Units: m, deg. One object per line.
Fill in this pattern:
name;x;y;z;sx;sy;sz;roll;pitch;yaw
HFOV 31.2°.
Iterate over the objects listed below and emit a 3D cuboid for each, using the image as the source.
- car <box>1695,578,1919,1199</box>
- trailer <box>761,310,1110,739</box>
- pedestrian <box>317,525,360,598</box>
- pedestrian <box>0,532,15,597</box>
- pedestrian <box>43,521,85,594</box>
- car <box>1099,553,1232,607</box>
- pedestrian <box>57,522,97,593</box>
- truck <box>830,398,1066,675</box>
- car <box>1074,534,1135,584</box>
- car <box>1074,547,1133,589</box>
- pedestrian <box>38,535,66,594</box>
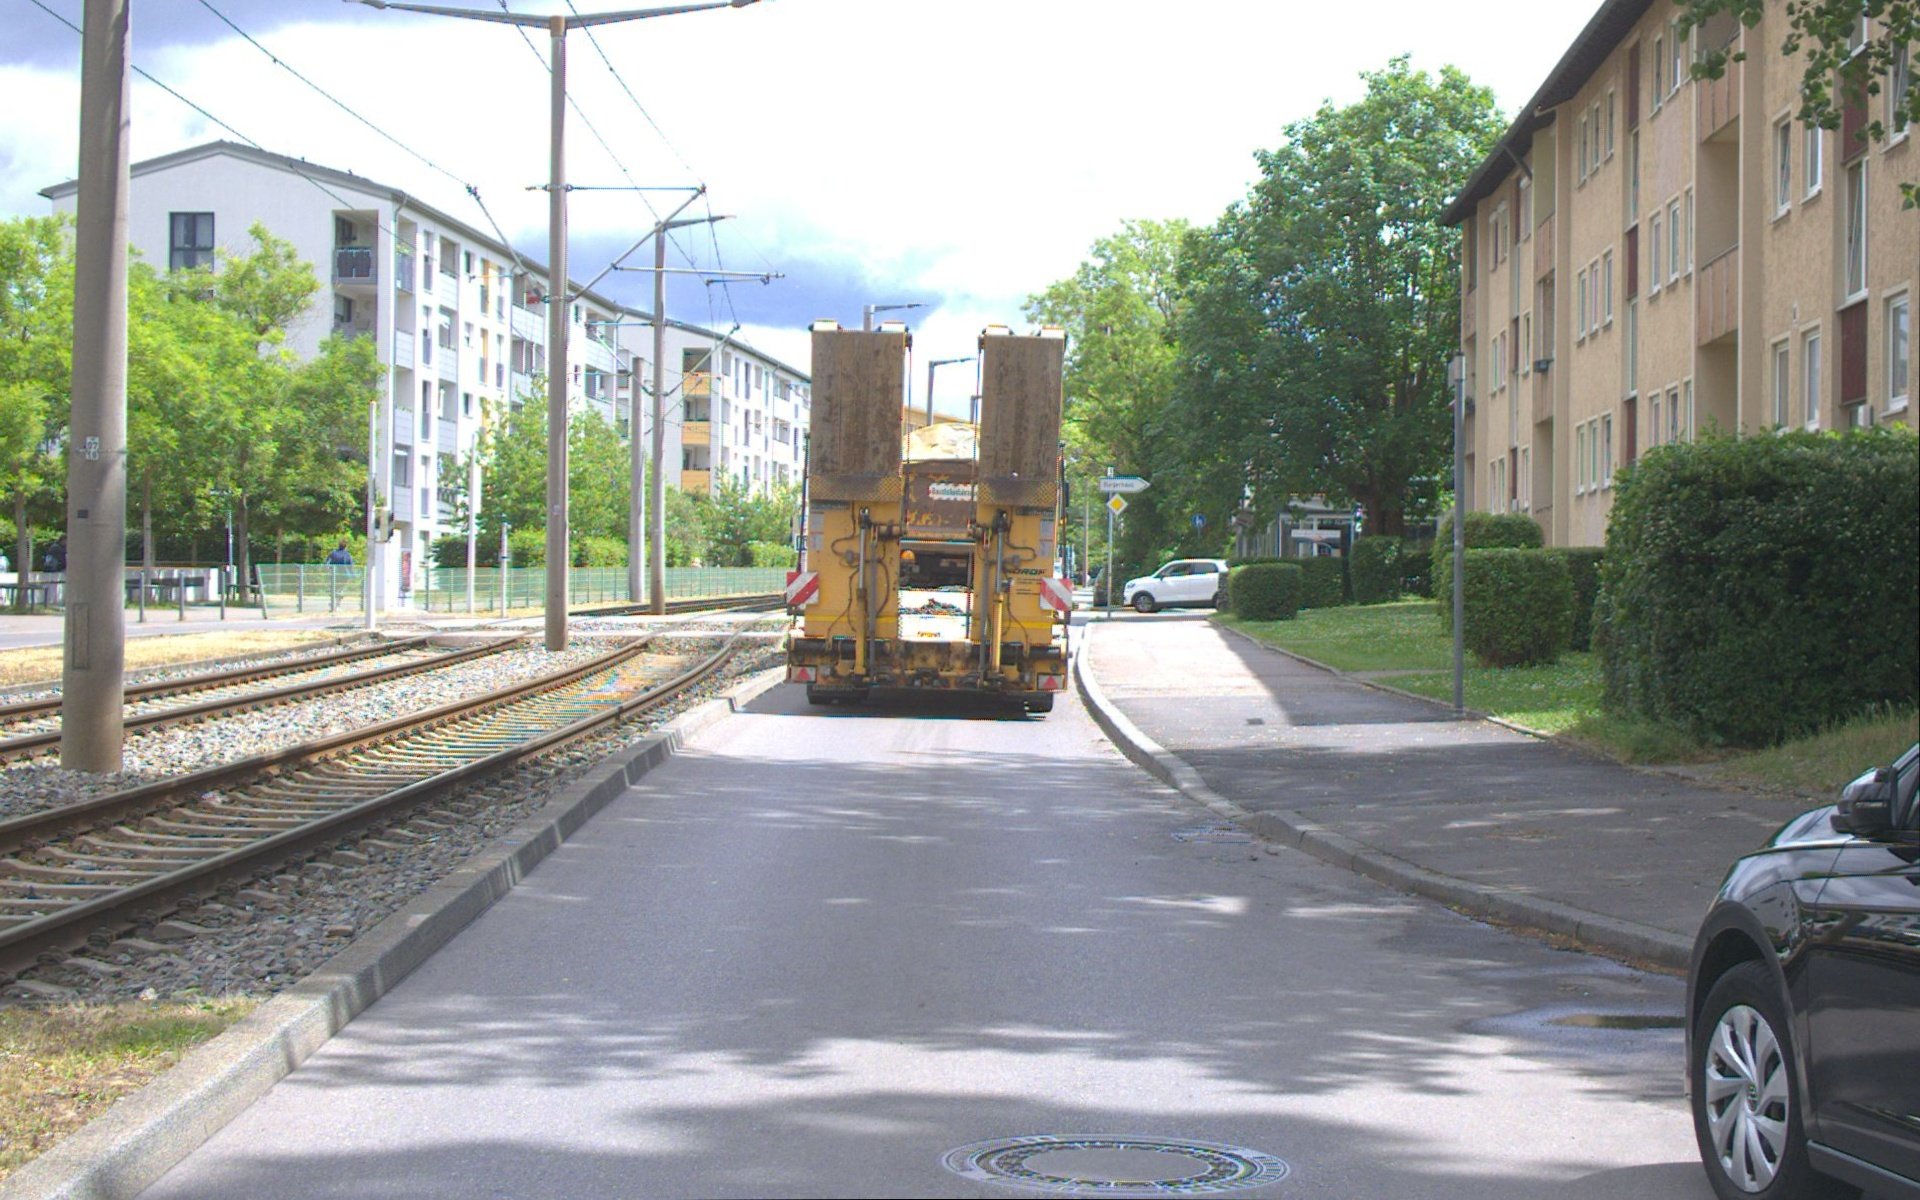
car;2.747;0.719;6.411;1.815;1.444;3.827;-1;2;-2
trailer;-0.241;-0.827;36.192;3.050;3.759;11.613;-1;2;0
pedestrian;-14.453;-0.900;79.900;0.749;1.656;0.869;0;1;6
pedestrian;-23.223;-0.859;82.977;0.545;1.542;0.528;0;2;23
pedestrian;-19.493;-0.926;74.812;0.623;1.567;0.697;0;1;13
car;6.046;-0.579;101.077;3.600;1.579;1.999;0;0;14
pedestrian;-19.443;-0.940;75.702;0.623;1.567;0.557;0;1;13
truck;-0.164;-0.877;45.571;2.833;3.319;7.985;-1;2;0
car;4.831;-1.389;115.454;1.993;1.612;4.000;0;2;2
car;4.992;-1.118;120.067;1.993;1.382;4.000;0;2;2
pedestrian;-19.549;-0.763;74.007;0.499;1.262;0.500;-1;2;-21
